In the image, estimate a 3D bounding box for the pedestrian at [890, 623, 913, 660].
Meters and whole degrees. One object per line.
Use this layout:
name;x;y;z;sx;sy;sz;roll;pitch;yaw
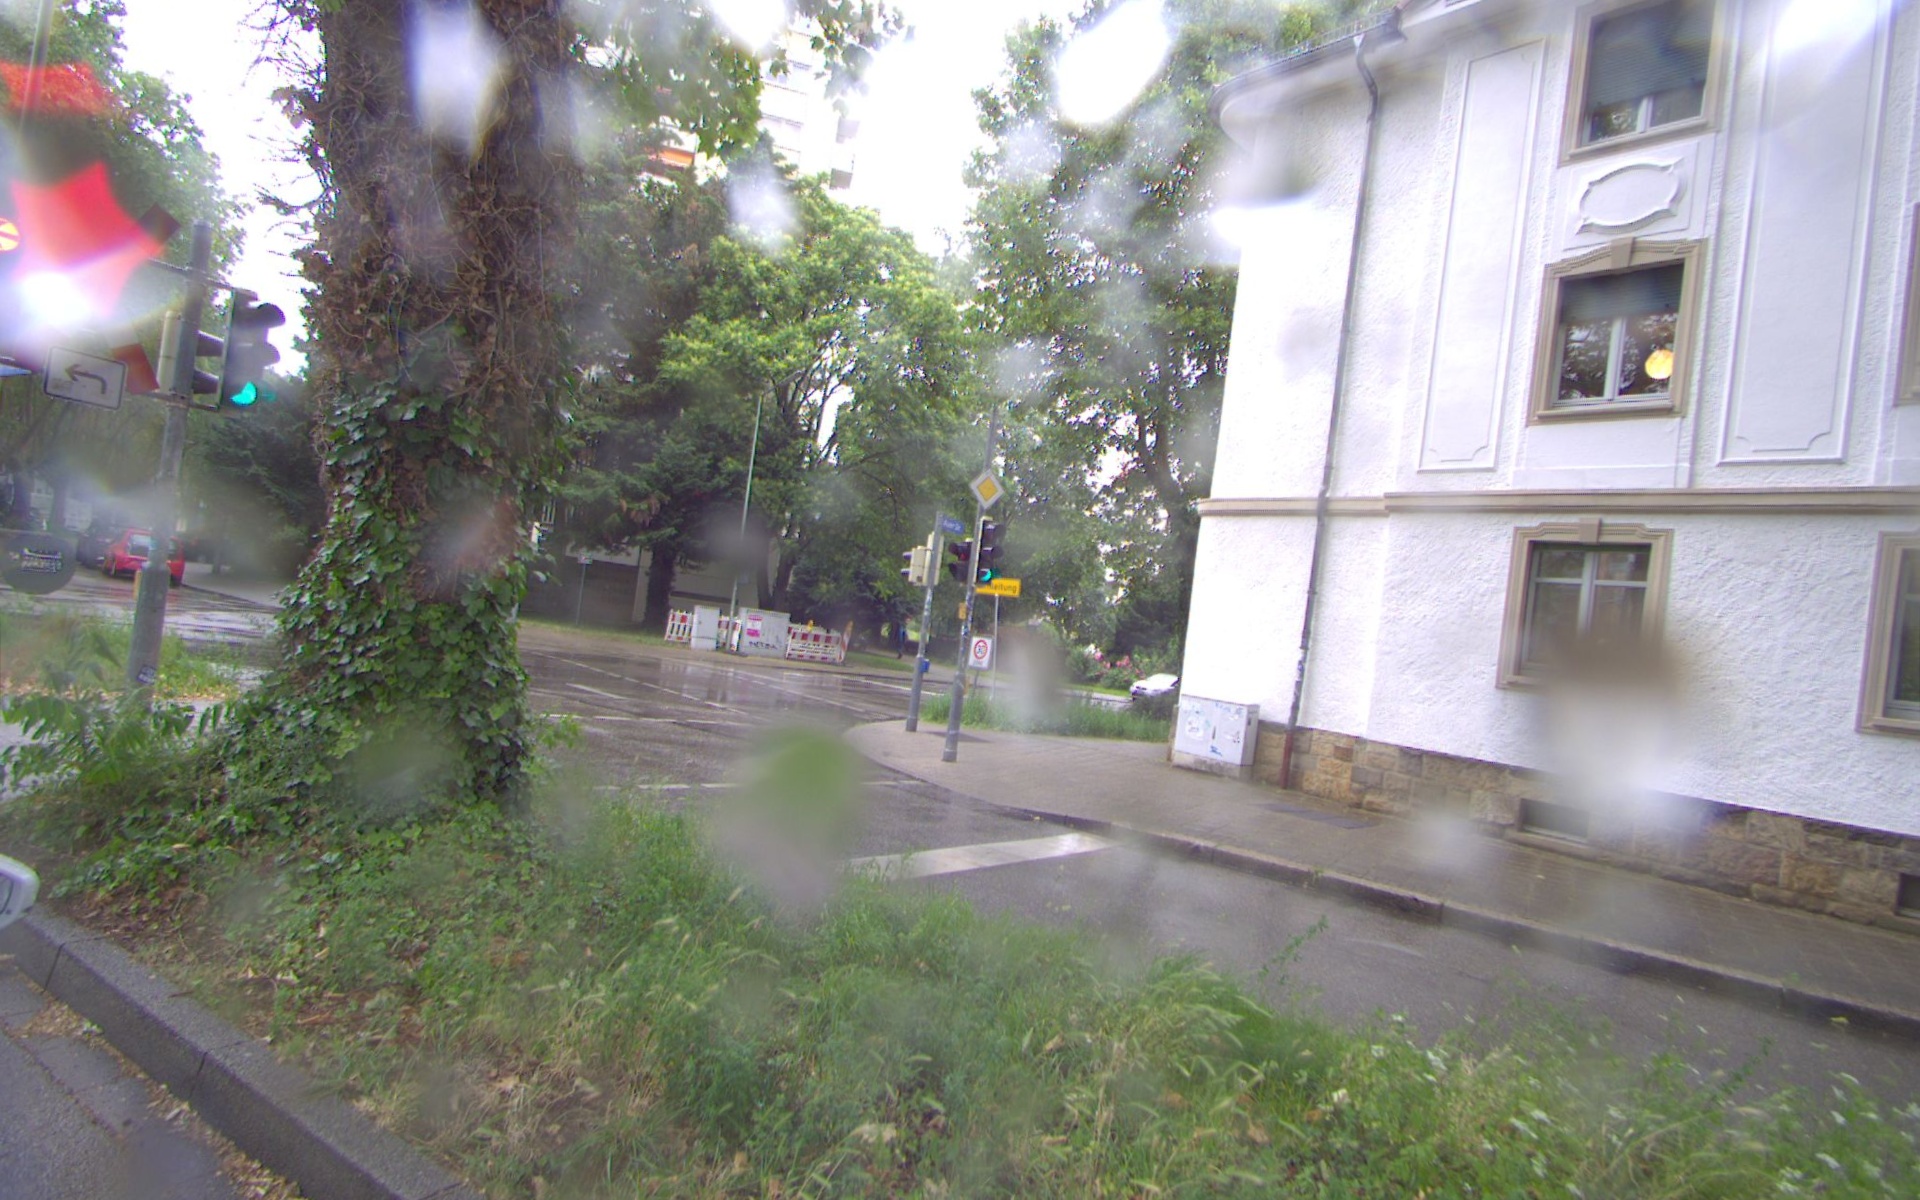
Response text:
pedestrian;-3.113;2.202;53.532;0.675;1.863;0.707;8;-1;-44

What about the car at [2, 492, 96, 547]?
car;-61.105;-5.385;67.526;4.680;2.982;2.043;7;-1;12

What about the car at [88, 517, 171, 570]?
car;-28.090;-1.933;33.995;1.780;1.363;3.879;10;-2;-44

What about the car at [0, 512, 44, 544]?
car;-56.198;-4.371;58.622;1.974;1.565;3.980;6;-3;44

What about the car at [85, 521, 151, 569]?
car;-38.717;-2.547;46.223;1.918;1.826;3.951;9;-2;-44

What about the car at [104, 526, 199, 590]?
car;-24.824;-1.304;30.838;1.788;1.515;3.950;10;-2;-44

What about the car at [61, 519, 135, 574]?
car;-32.976;-2.073;38.449;1.779;1.747;3.951;9;-2;-44

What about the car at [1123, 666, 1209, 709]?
car;9.419;4.000;45.802;1.829;1.473;3.979;6;-3;45

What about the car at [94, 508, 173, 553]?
car;-69.644;-5.835;84.807;4.683;2.982;2.001;7;-1;1
